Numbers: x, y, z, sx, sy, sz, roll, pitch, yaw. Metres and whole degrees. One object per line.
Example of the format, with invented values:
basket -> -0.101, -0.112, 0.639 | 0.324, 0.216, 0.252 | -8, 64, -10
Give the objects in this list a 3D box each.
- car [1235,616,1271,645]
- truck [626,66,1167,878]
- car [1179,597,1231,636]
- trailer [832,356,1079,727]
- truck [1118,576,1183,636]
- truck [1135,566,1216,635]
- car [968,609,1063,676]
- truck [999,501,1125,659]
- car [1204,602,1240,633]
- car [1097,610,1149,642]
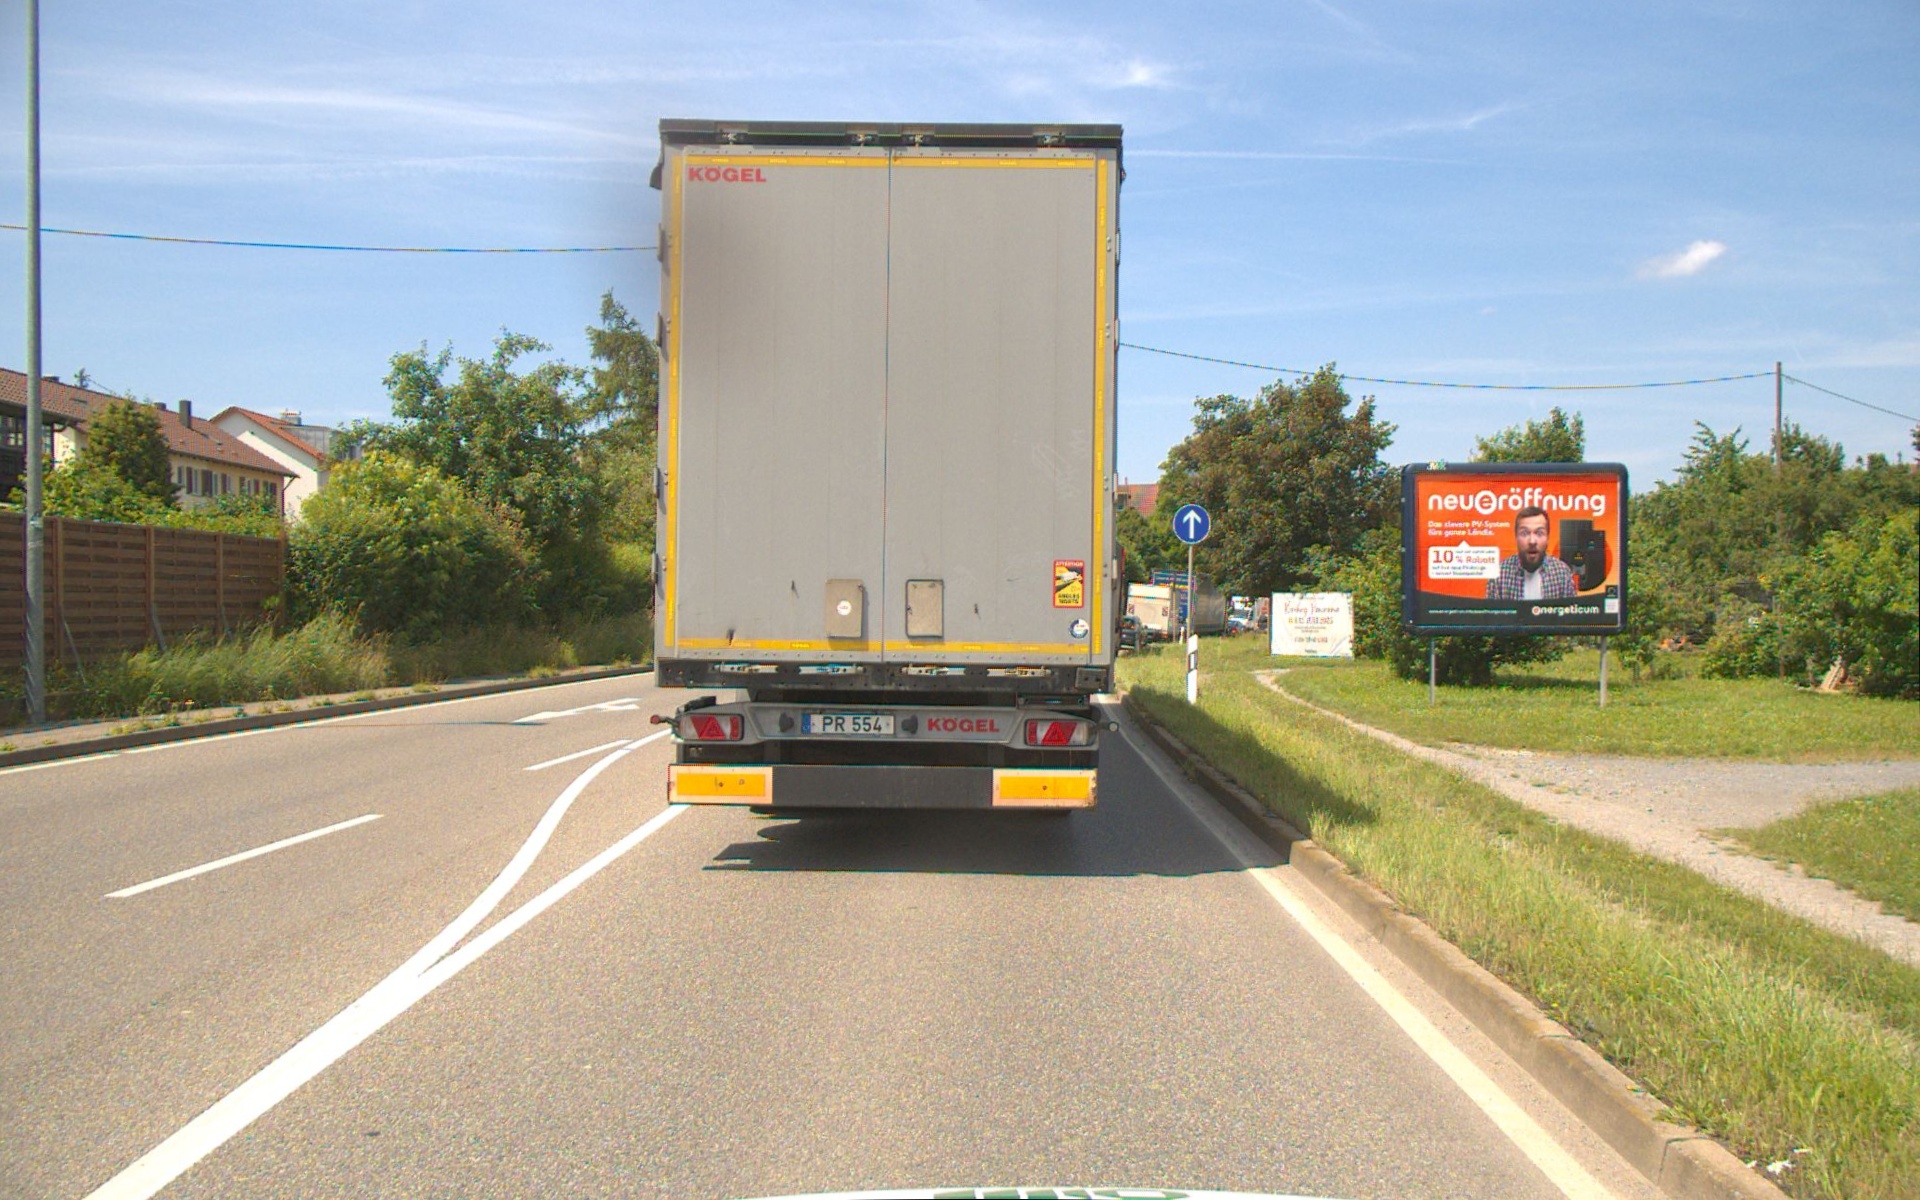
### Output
car -> 21.131, 2.200, 119.171 | 1.952, 2.049, 4.001 | 1, -1, 20
truck -> -0.176, -0.706, 14.375 | 2.763, 4.200, 11.446 | 1, 0, 2
car -> 15.220, 0.986, 102.523 | 2.478, 2.317, 6.386 | 1, 0, 15
trailer -> 0.084, -0.685, 22.077 | 2.766, 4.183, 6.546 | 1, 0, 2
truck -> 9.663, 0.341, 83.407 | 2.489, 2.852, 6.036 | 1, -1, 13
truck -> 12.285, -0.023, 93.515 | 3.360, 3.667, 9.361 | 1, 1, 14
car -> 1.283, 0.918, 36.763 | 1.780, 1.370, 3.850 | 1, -1, 7
truck -> 3.653, -0.442, 54.246 | 2.701, 4.364, 16.427 | 1, -1, 8
car -> 17.606, 1.188, 110.964 | 1.951, 2.049, 4.003 | 1, -1, 15
car -> 7.431, 1.186, 75.193 | 1.951, 1.400, 4.003 | 1, -1, 11
